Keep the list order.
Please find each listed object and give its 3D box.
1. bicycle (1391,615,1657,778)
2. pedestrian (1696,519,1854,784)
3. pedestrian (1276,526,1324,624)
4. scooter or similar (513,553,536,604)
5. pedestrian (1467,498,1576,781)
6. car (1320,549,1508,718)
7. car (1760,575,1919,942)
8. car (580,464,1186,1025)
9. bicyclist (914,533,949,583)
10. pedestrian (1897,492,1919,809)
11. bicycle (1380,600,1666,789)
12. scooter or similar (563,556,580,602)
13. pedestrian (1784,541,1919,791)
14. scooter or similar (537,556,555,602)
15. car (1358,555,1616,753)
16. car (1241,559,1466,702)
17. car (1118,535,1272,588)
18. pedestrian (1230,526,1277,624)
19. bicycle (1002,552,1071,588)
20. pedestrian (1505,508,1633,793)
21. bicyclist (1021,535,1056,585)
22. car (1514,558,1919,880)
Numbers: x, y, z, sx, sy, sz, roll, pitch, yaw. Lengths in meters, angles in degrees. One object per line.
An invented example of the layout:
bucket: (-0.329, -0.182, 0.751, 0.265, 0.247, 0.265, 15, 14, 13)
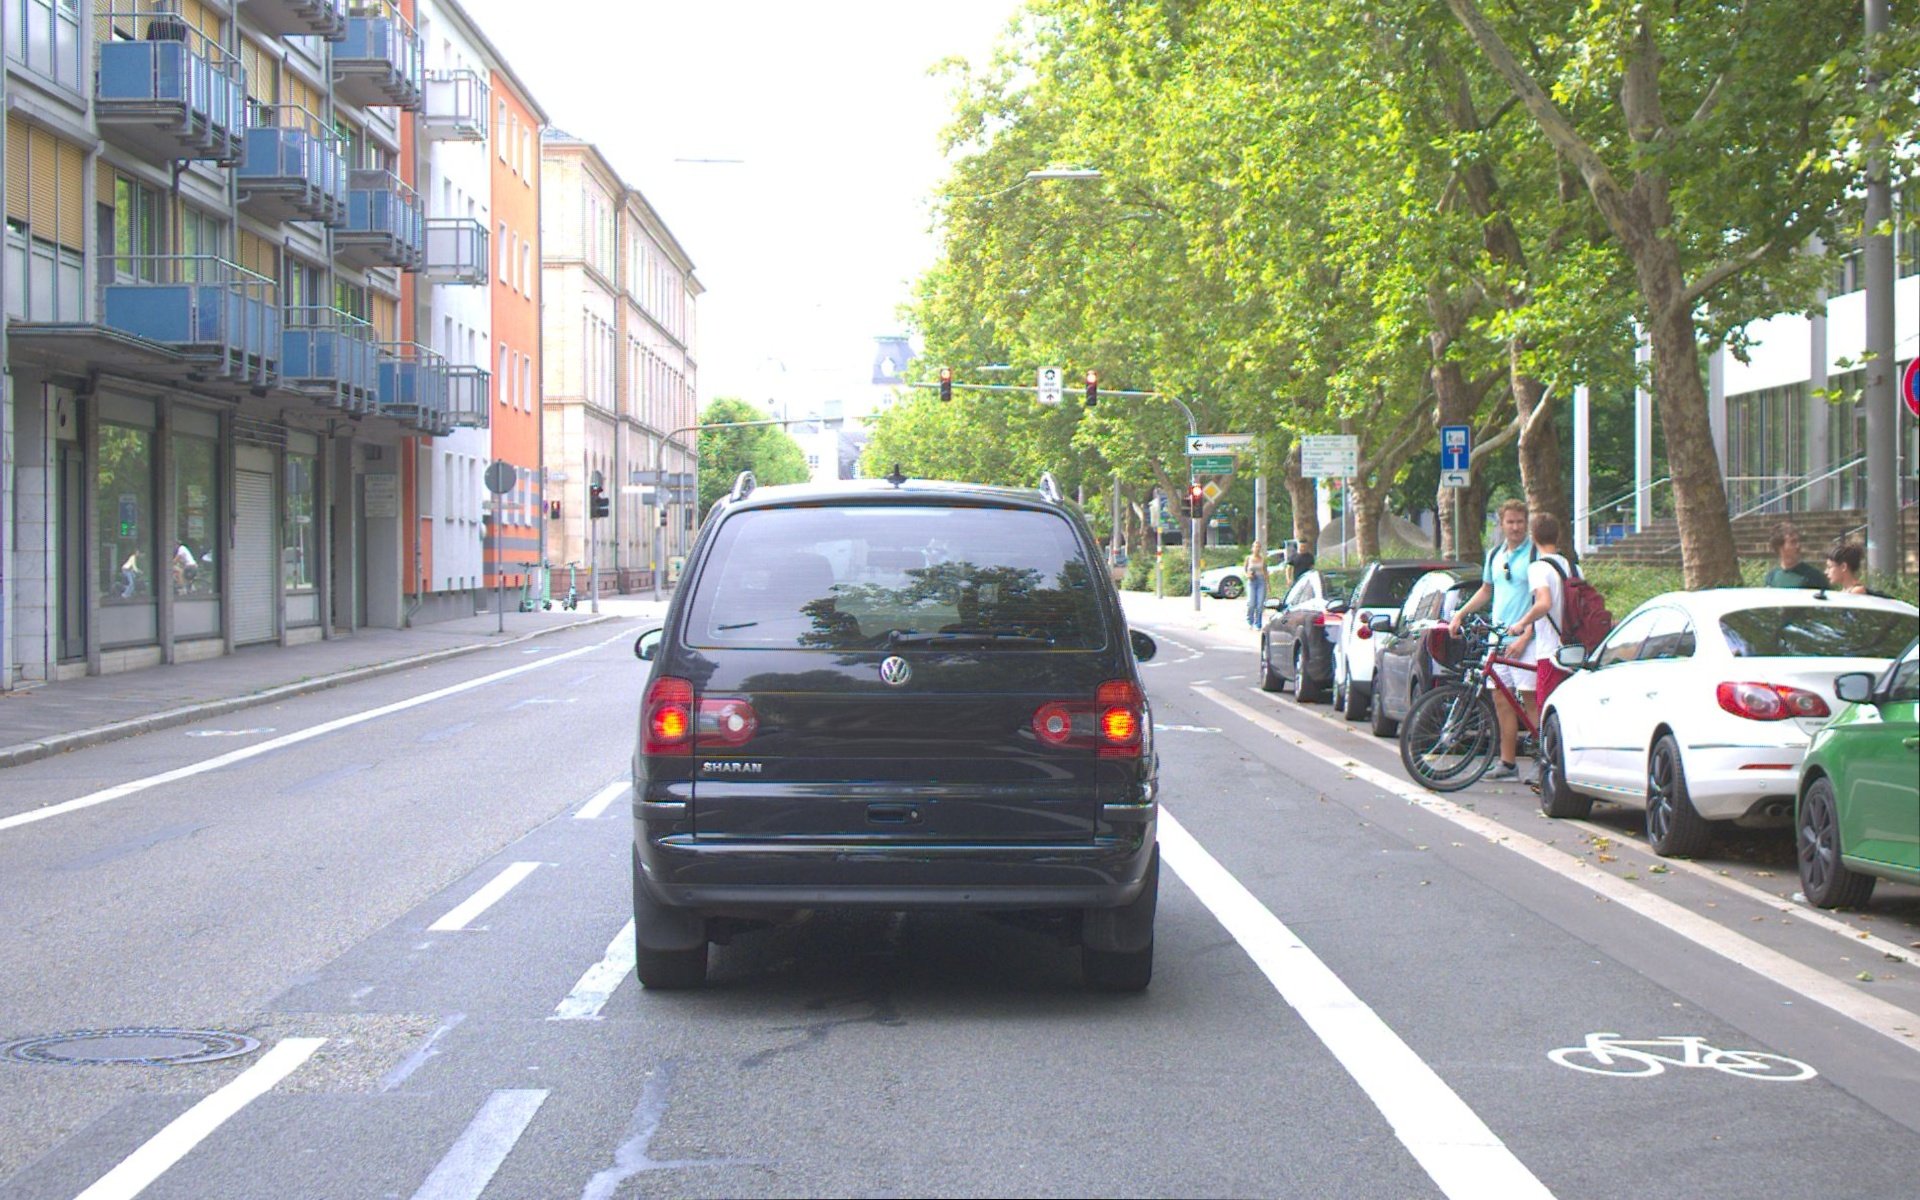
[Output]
bicycle: (3.956, 0.676, 24.139, 1.734, 1.102, 0.552, 1, 1, -11)
pedestrian: (5.693, 0.348, 24.050, 0.871, 1.810, 0.780, 1, 1, -1)
pedestrian: (6.338, -0.468, 64.174, 0.715, 1.794, 1.034, -2, 0, -2)
scooter or similar: (-10.234, -0.508, 80.798, 0.378, 1.179, 1.390, 0, -1, -1)
pedestrian: (3.890, 0.263, 23.862, 0.474, 1.928, 0.745, 1, 1, -11)
car: (4.392, 0.295, 33.555, 1.536, 1.538, 2.599, 2, 1, 2)
car: (4.642, 0.673, 14.135, 1.587, 1.445, 3.806, 2, 1, -3)
car: (-0.297, 0.409, 12.976, 1.874, 1.739, 4.574, 0, 1, -1)
bicyclist: (-0.841, -1.226, 100.383, 0.914, 1.461, 0.570, 1, 1, -10)
pedestrian: (6.425, 0.322, 21.640, 0.793, 1.990, 0.750, 1, 1, -1)
bicycle: (3.738, 0.628, 22.830, 1.788, 1.213, 0.553, 1, 1, -18)
scooter or similar: (-9.897, -0.532, 87.596, 0.378, 1.140, 1.142, 0, -1, -4)
pedestrian: (6.039, 0.435, 23.262, 0.721, 1.652, 0.655, 1, 1, -1)
scooter or similar: (-10.481, -0.523, 87.049, 0.378, 1.143, 1.142, 0, -1, -4)
car: (4.336, 0.398, 28.741, 1.528, 1.497, 3.660, 2, 1, 0)
car: (4.249, 0.289, 37.721, 1.697, 1.420, 4.423, 2, 1, -3)
car: (6.799, -1.115, 99.543, 4.084, 1.422, 1.763, -2, 1, -13)
pedestrian: (5.474, -0.468, 64.143, 0.710, 1.777, 1.034, -2, 0, -2)
bicycle: (2.273, -0.879, 101.946, 1.924, 1.025, 0.583, 1, 1, -13)
pedestrian: (3.997, 0.321, 22.589, 0.519, 1.839, 0.745, 1, 1, -15)
bicyclist: (2.327, -1.179, 101.957, 0.914, 1.461, 0.570, 1, 1, -13)
car: (4.423, 0.571, 19.116, 1.680, 1.511, 4.545, 2, 1, -3)
